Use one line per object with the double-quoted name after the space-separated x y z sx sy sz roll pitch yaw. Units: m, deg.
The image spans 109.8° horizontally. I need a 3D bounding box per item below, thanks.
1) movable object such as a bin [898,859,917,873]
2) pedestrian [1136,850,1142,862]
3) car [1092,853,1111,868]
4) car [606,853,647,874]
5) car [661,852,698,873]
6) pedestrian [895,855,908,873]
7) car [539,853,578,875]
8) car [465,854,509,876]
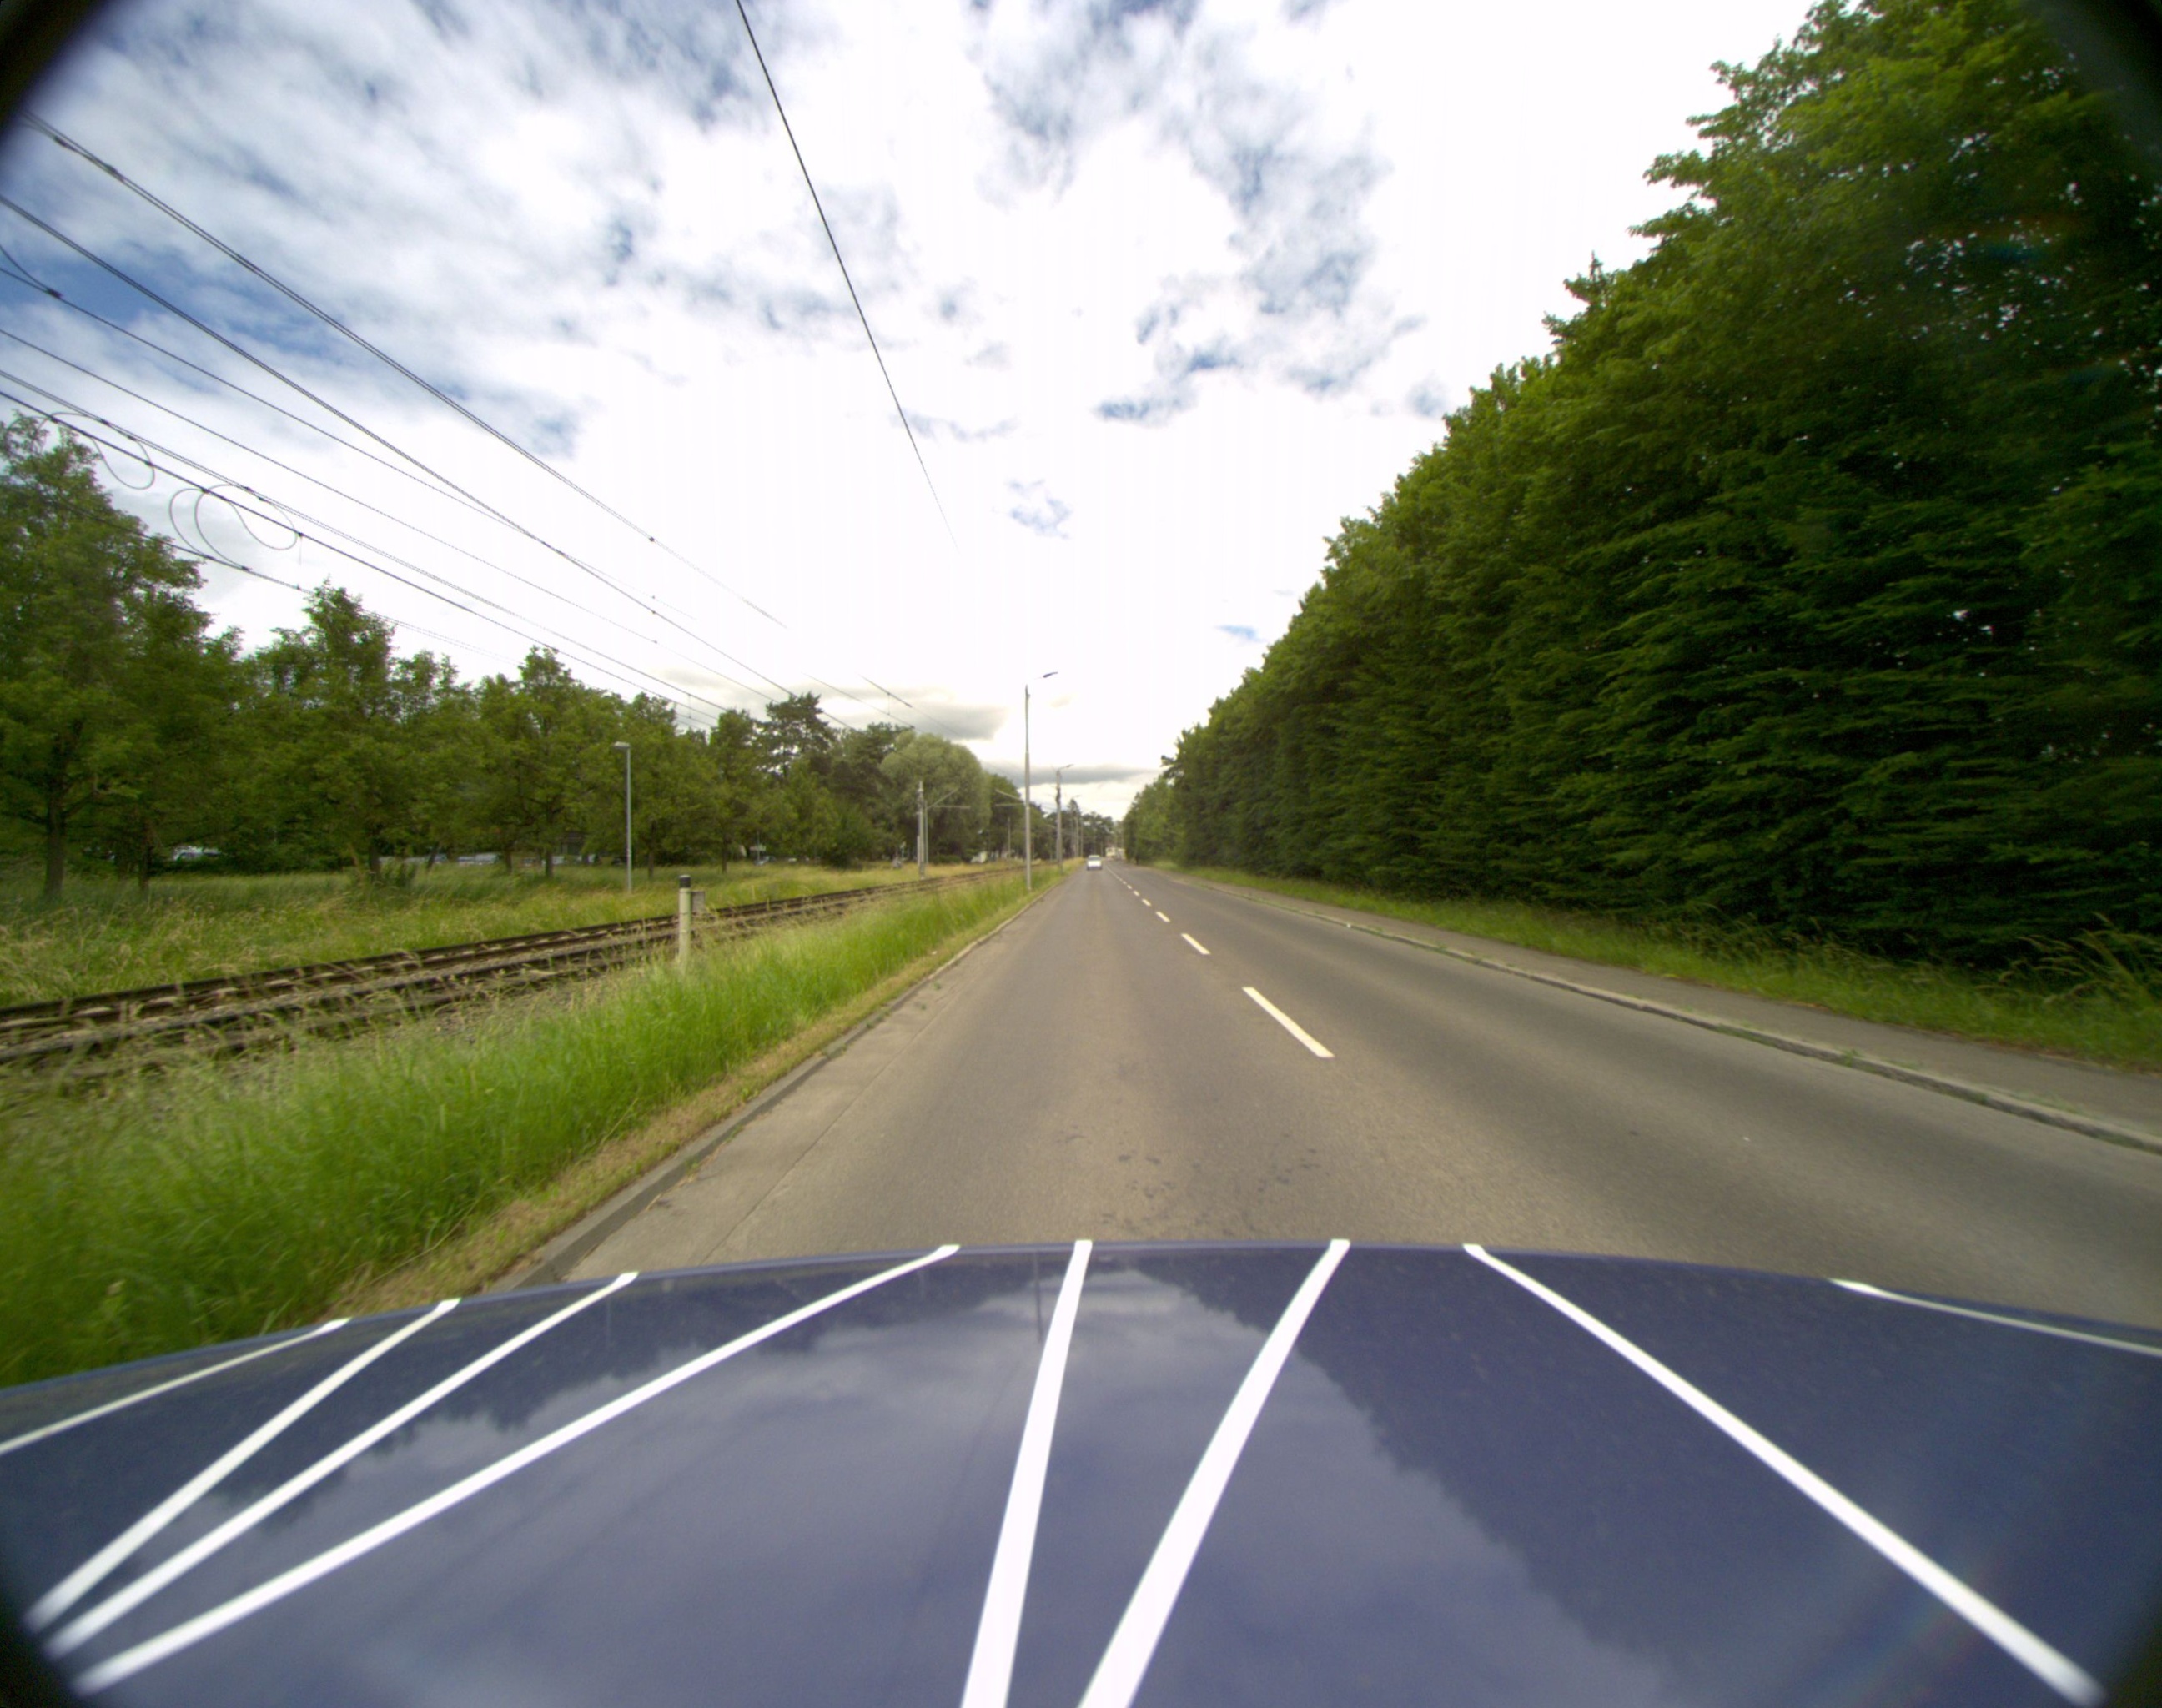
-16.740 1.117 73.402 0.658 1.303 1.646 0 1 42 "movable object such as a bin"
8.520 0.255 111.480 0.870 1.759 0.789 0 0 -6 "pedestrian"
2.276 0.774 85.825 1.734 1.638 4.225 -1 -1 -3 "car"
-40.136 0.812 67.193 1.750 1.793 3.996 -1 0 -11 "car"
-35.450 0.751 67.231 1.750 1.793 3.996 -1 0 -11 "car"
-17.233 0.975 72.815 0.656 1.657 0.960 0 1 42 "pedestrian"
-45.610 0.846 66.404 2.002 1.801 3.992 -1 0 -24 "car"
-50.350 0.890 64.485 2.002 1.801 3.992 -1 0 -24 "car"
